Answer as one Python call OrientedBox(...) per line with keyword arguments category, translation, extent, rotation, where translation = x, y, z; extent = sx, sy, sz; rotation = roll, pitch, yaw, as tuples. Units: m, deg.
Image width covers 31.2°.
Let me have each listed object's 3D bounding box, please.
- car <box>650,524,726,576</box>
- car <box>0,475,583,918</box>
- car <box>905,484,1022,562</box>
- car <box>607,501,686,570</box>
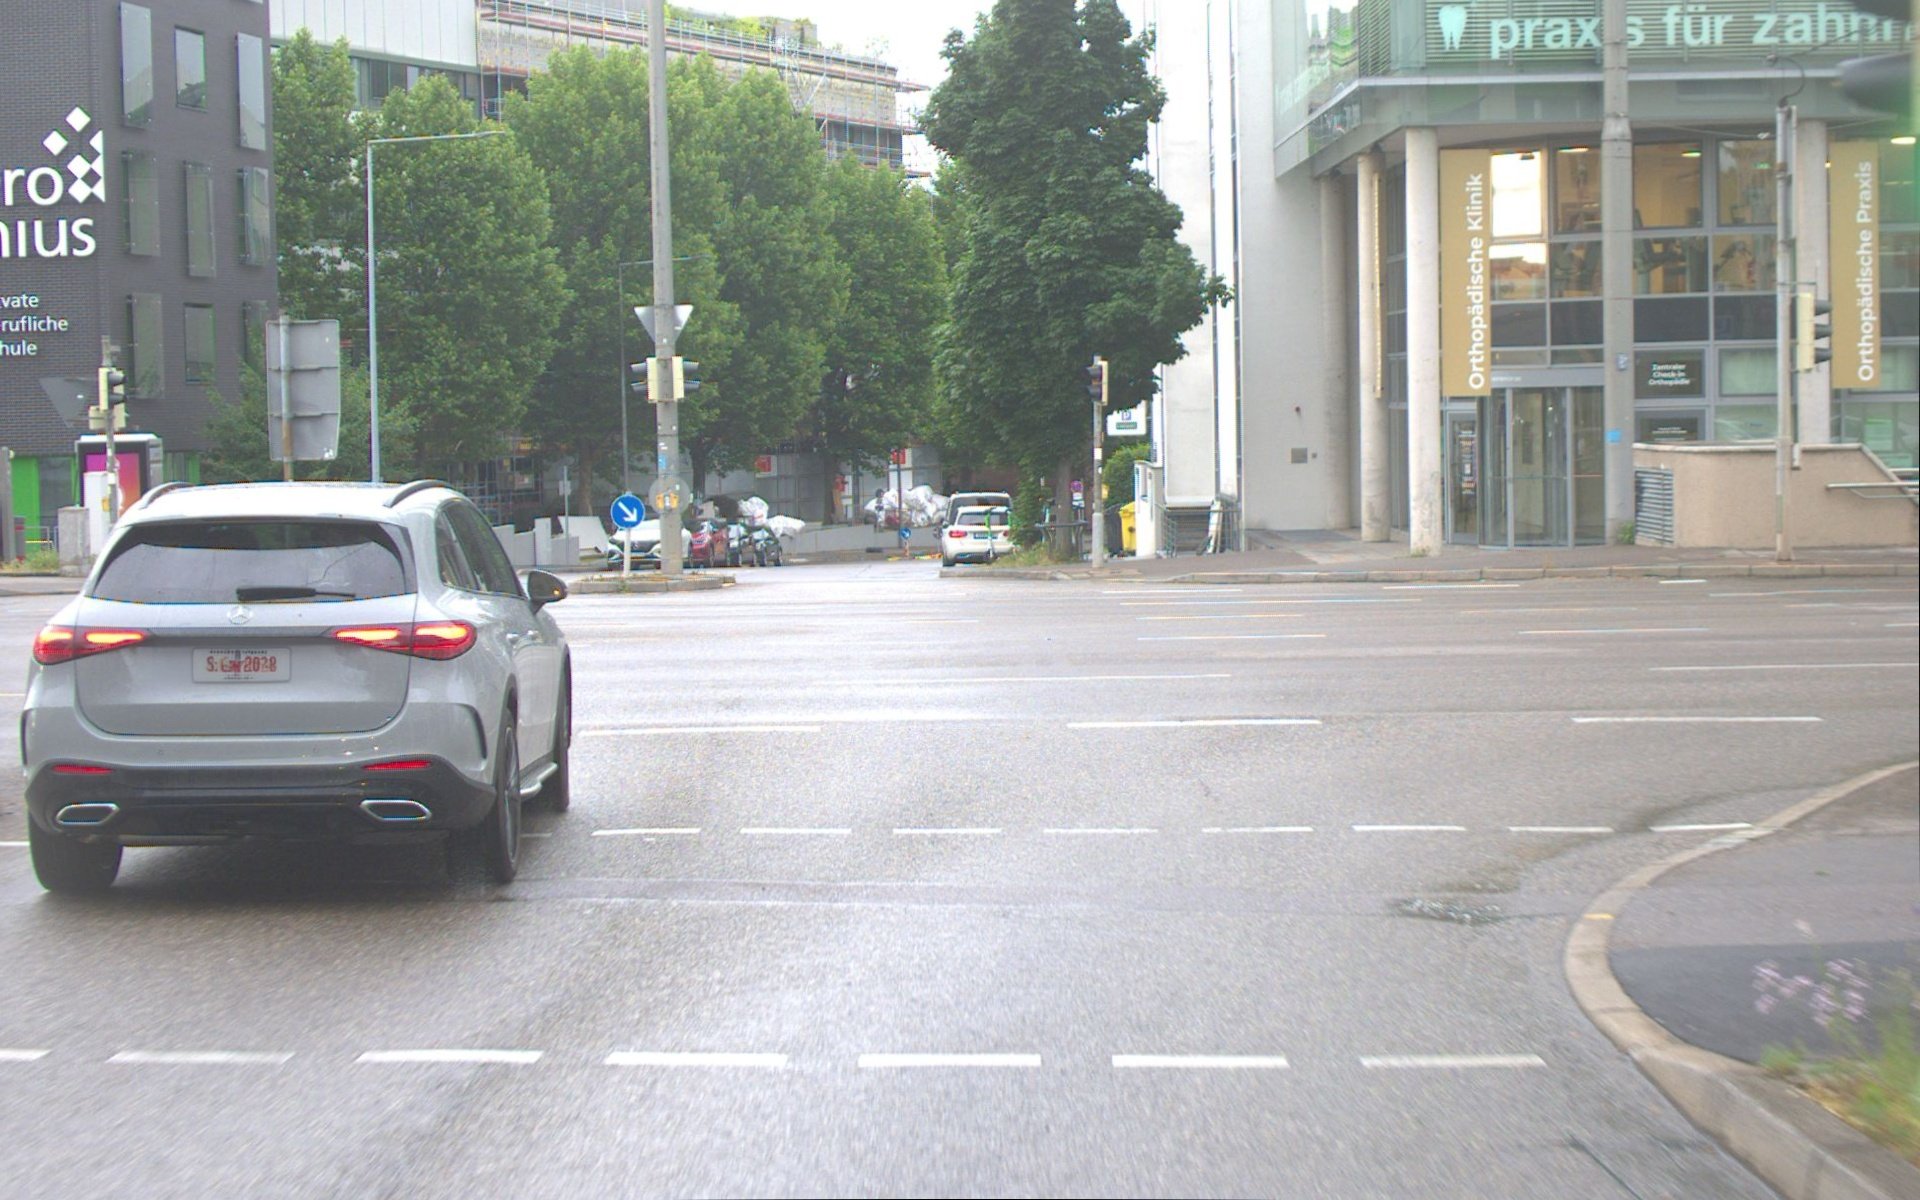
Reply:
OrientedBox(category="car", translation=(-8.598, -1.586, 108.910), extent=(1.679, 1.588, 3.856), rotation=(1, 1, 6))
OrientedBox(category="car", translation=(-2.794, 0.298, 14.867), extent=(1.908, 1.626, 4.211), rotation=(1, 2, -1))
OrientedBox(category="car", translation=(0.056, -1.755, 78.085), extent=(1.993, 1.711, 4.001), rotation=(1, 1, -10))
OrientedBox(category="car", translation=(-9.411, -1.948, 103.395), extent=(1.993, 2.007, 4.000), rotation=(1, 1, 0))
